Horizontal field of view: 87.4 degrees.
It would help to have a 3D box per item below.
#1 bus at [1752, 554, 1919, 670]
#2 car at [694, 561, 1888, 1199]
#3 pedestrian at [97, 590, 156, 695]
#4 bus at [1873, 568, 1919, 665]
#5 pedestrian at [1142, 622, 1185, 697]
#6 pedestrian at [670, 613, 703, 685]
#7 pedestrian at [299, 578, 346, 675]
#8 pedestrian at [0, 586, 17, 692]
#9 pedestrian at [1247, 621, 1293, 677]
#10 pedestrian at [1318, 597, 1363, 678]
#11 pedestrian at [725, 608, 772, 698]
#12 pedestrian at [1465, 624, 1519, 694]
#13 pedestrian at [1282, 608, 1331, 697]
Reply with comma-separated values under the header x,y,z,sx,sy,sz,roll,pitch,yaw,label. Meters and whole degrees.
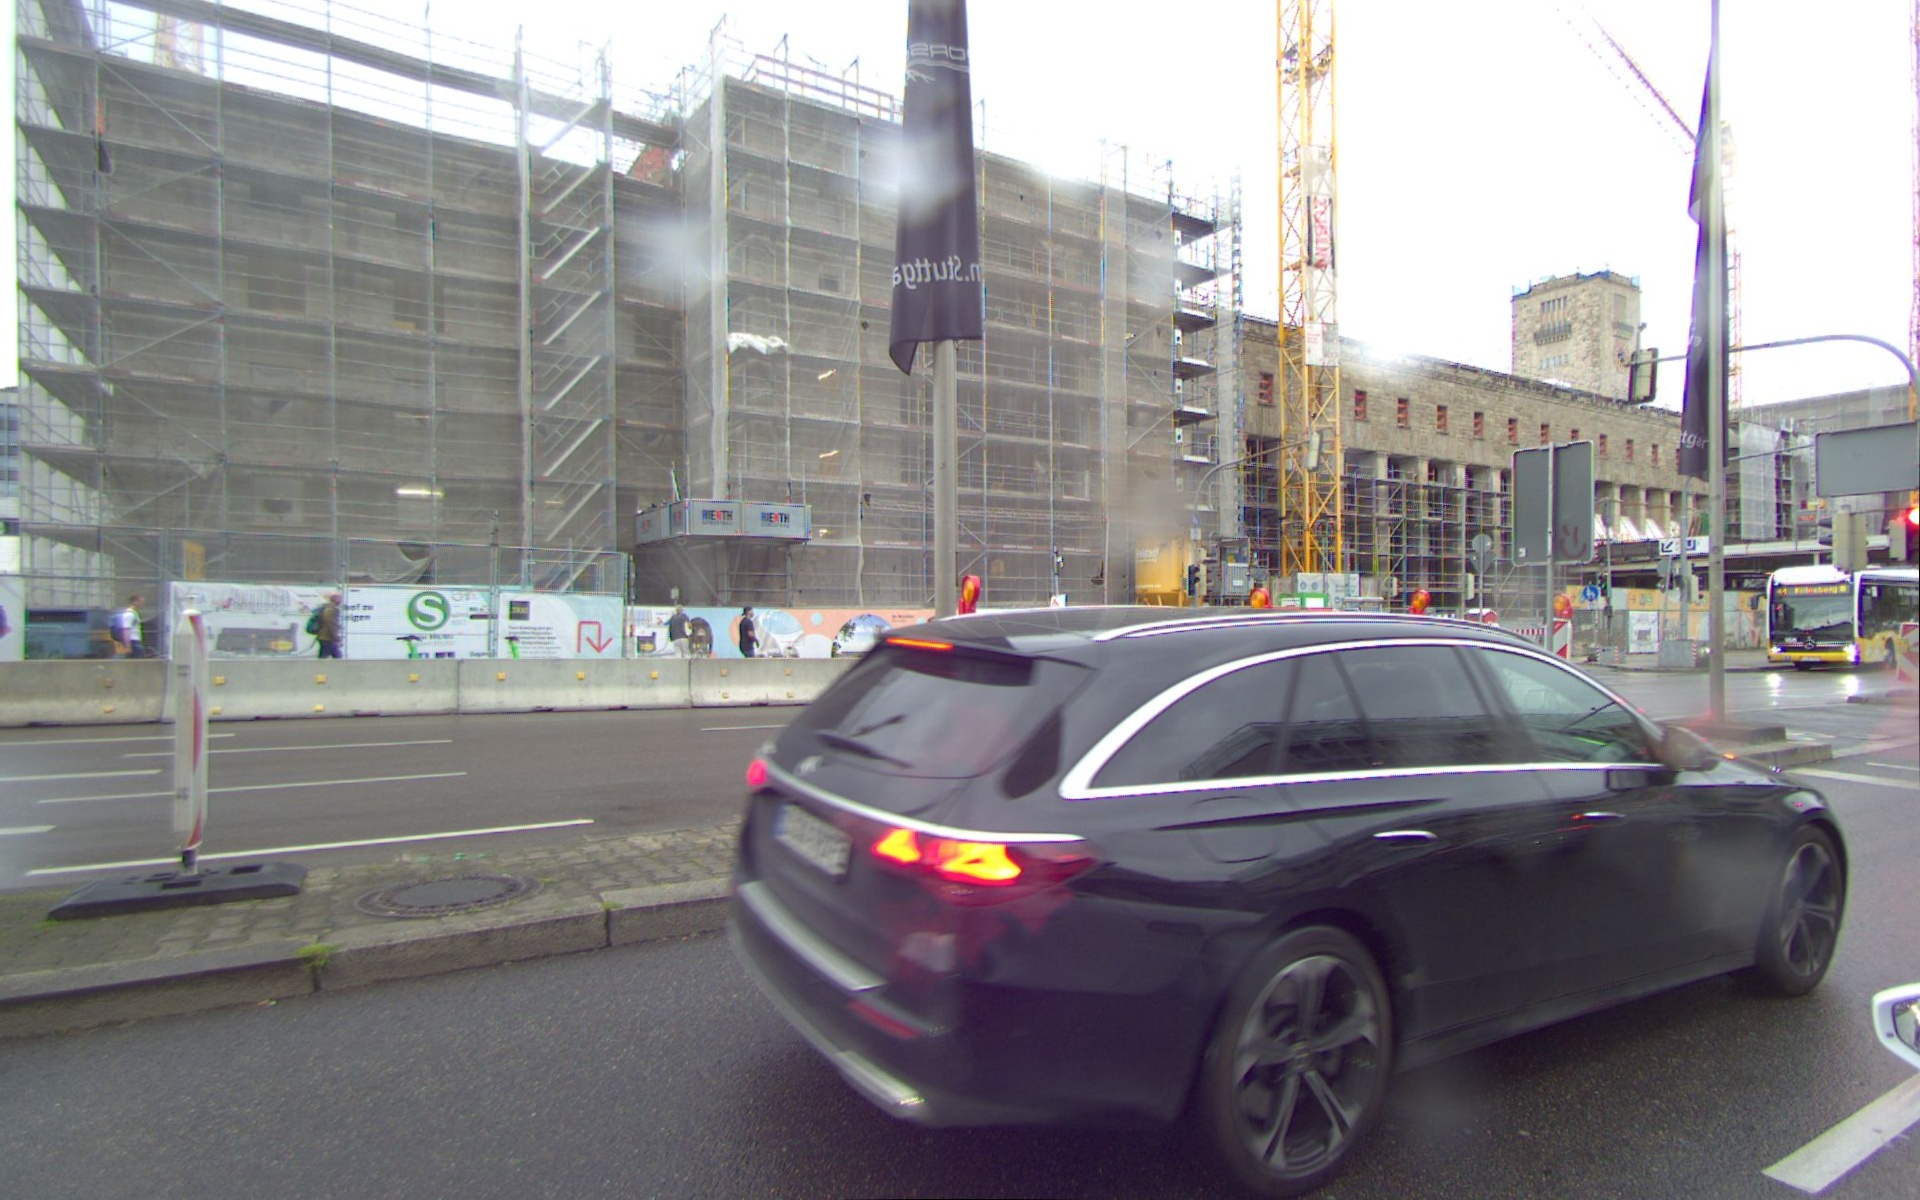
x,y,z,sx,sy,sz,roll,pitch,yaw,label
31.764,0.497,35.296,10.119,3.650,2.655,2,0,-30,bus
1.486,0.716,3.888,4.533,1.489,1.846,2,0,-30,car
-14.970,0.753,18.059,0.709,1.860,0.478,1,0,-30,pedestrian
40.486,0.755,40.388,10.092,3.650,2.655,2,0,-30,bus
4.811,1.398,23.797,0.613,1.740,0.794,1,-2,-33,pedestrian
-7.173,1.280,26.335,0.709,1.860,0.478,1,0,-30,pedestrian
-12.484,0.510,19.677,0.709,1.860,0.478,1,0,-30,pedestrian
-17.318,0.685,17.838,0.709,1.860,0.478,1,0,-30,pedestrian
9.055,1.425,29.347,0.890,1.584,0.909,1,0,-33,pedestrian
9.005,0.874,23.746,0.810,1.860,0.575,1,0,-30,pedestrian
-4.522,1.126,21.476,0.810,1.860,0.575,1,0,-30,pedestrian
12.623,1.382,23.869,0.771,1.581,0.875,2,0,0,pedestrian
7.766,1.161,22.522,0.614,1.915,0.793,1,0,-38,pedestrian
